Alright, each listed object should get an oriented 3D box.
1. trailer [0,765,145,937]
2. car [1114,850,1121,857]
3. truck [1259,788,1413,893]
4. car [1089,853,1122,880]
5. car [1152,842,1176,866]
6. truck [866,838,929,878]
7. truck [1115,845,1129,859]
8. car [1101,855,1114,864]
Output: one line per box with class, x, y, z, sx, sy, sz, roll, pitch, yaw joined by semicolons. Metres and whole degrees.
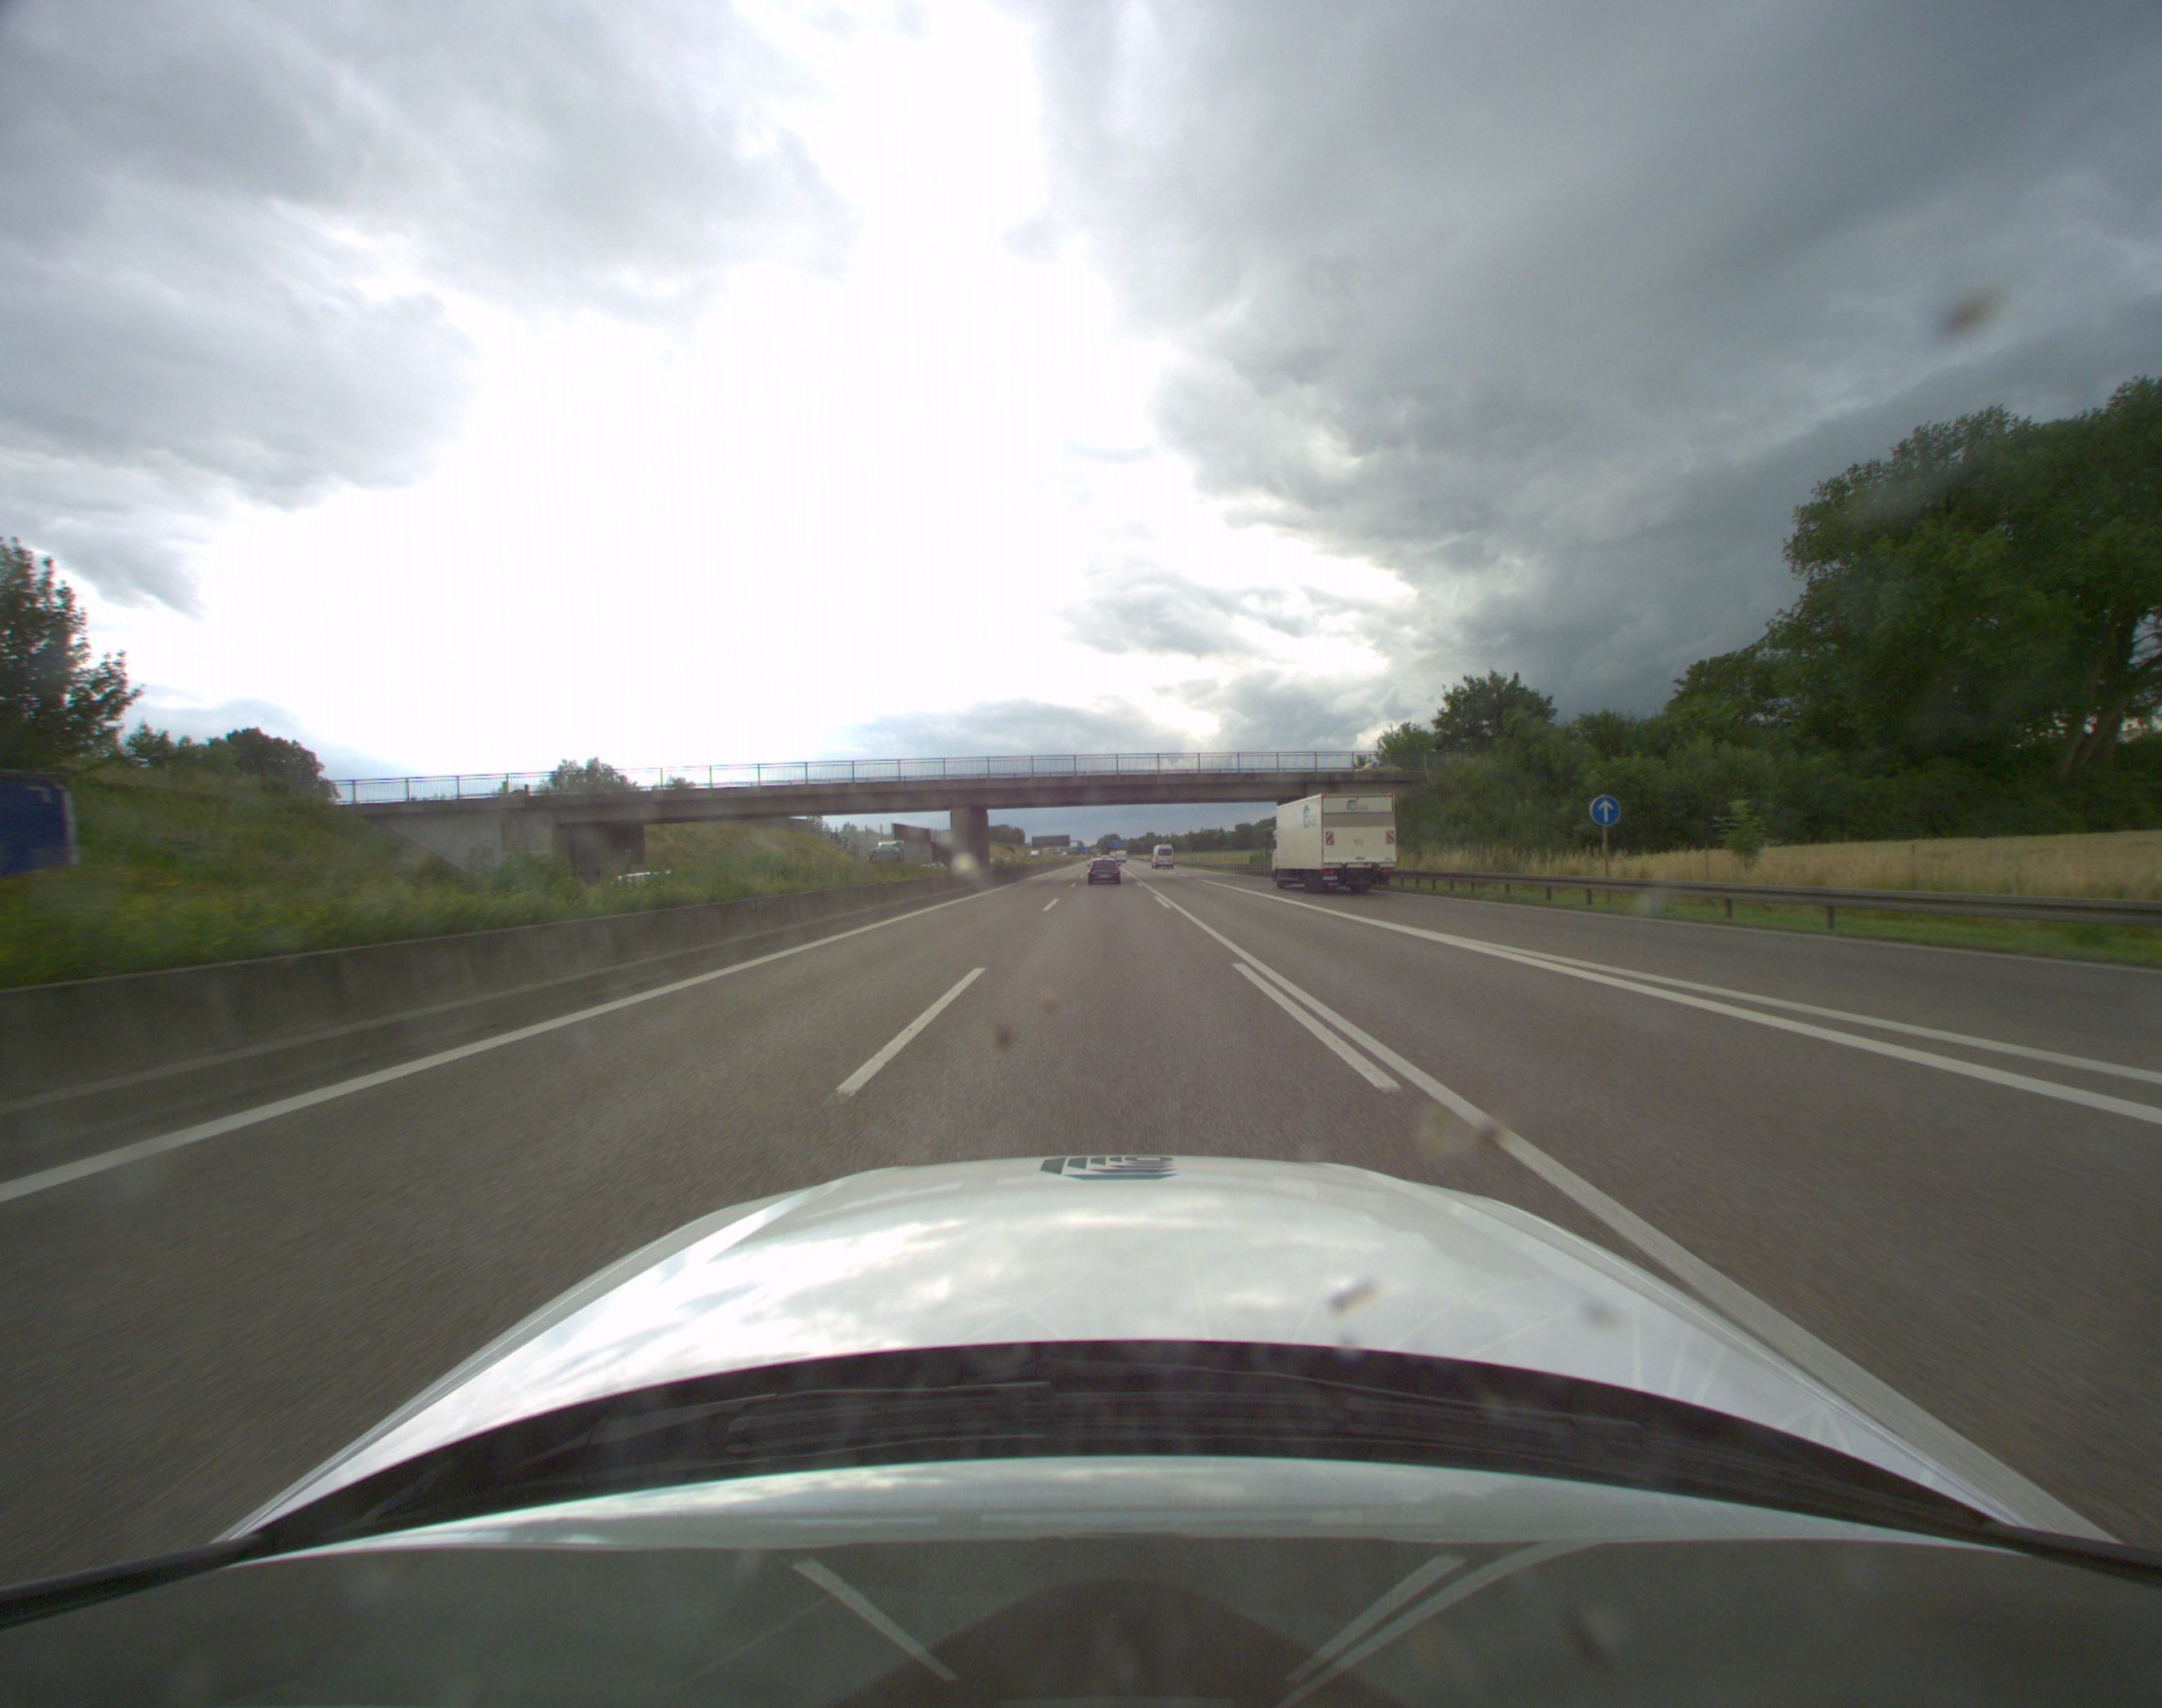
trailer;-20.166;-0.052;9.104;2.910;2.955;13.977;0;0;2
car;10.948;-0.024;246.251;1.986;2.013;4.001;-3;0;1
truck;9.482;-0.438;31.606;3.095;3.470;8.888;0;0;0
car;1.342;0.654;45.186;1.737;1.389;4.001;-1;0;1
car;9.415;0.001;92.672;2.213;2.568;6.258;-2;0;2
truck;-18.465;0.437;83.040;2.986;3.684;13.014;-2;0;2
truck;9.155;-0.446;182.891;2.700;2.964;12.450;0;0;1
car;4.172;0.870;130.319;1.987;1.298;4.001;-3;0;1
